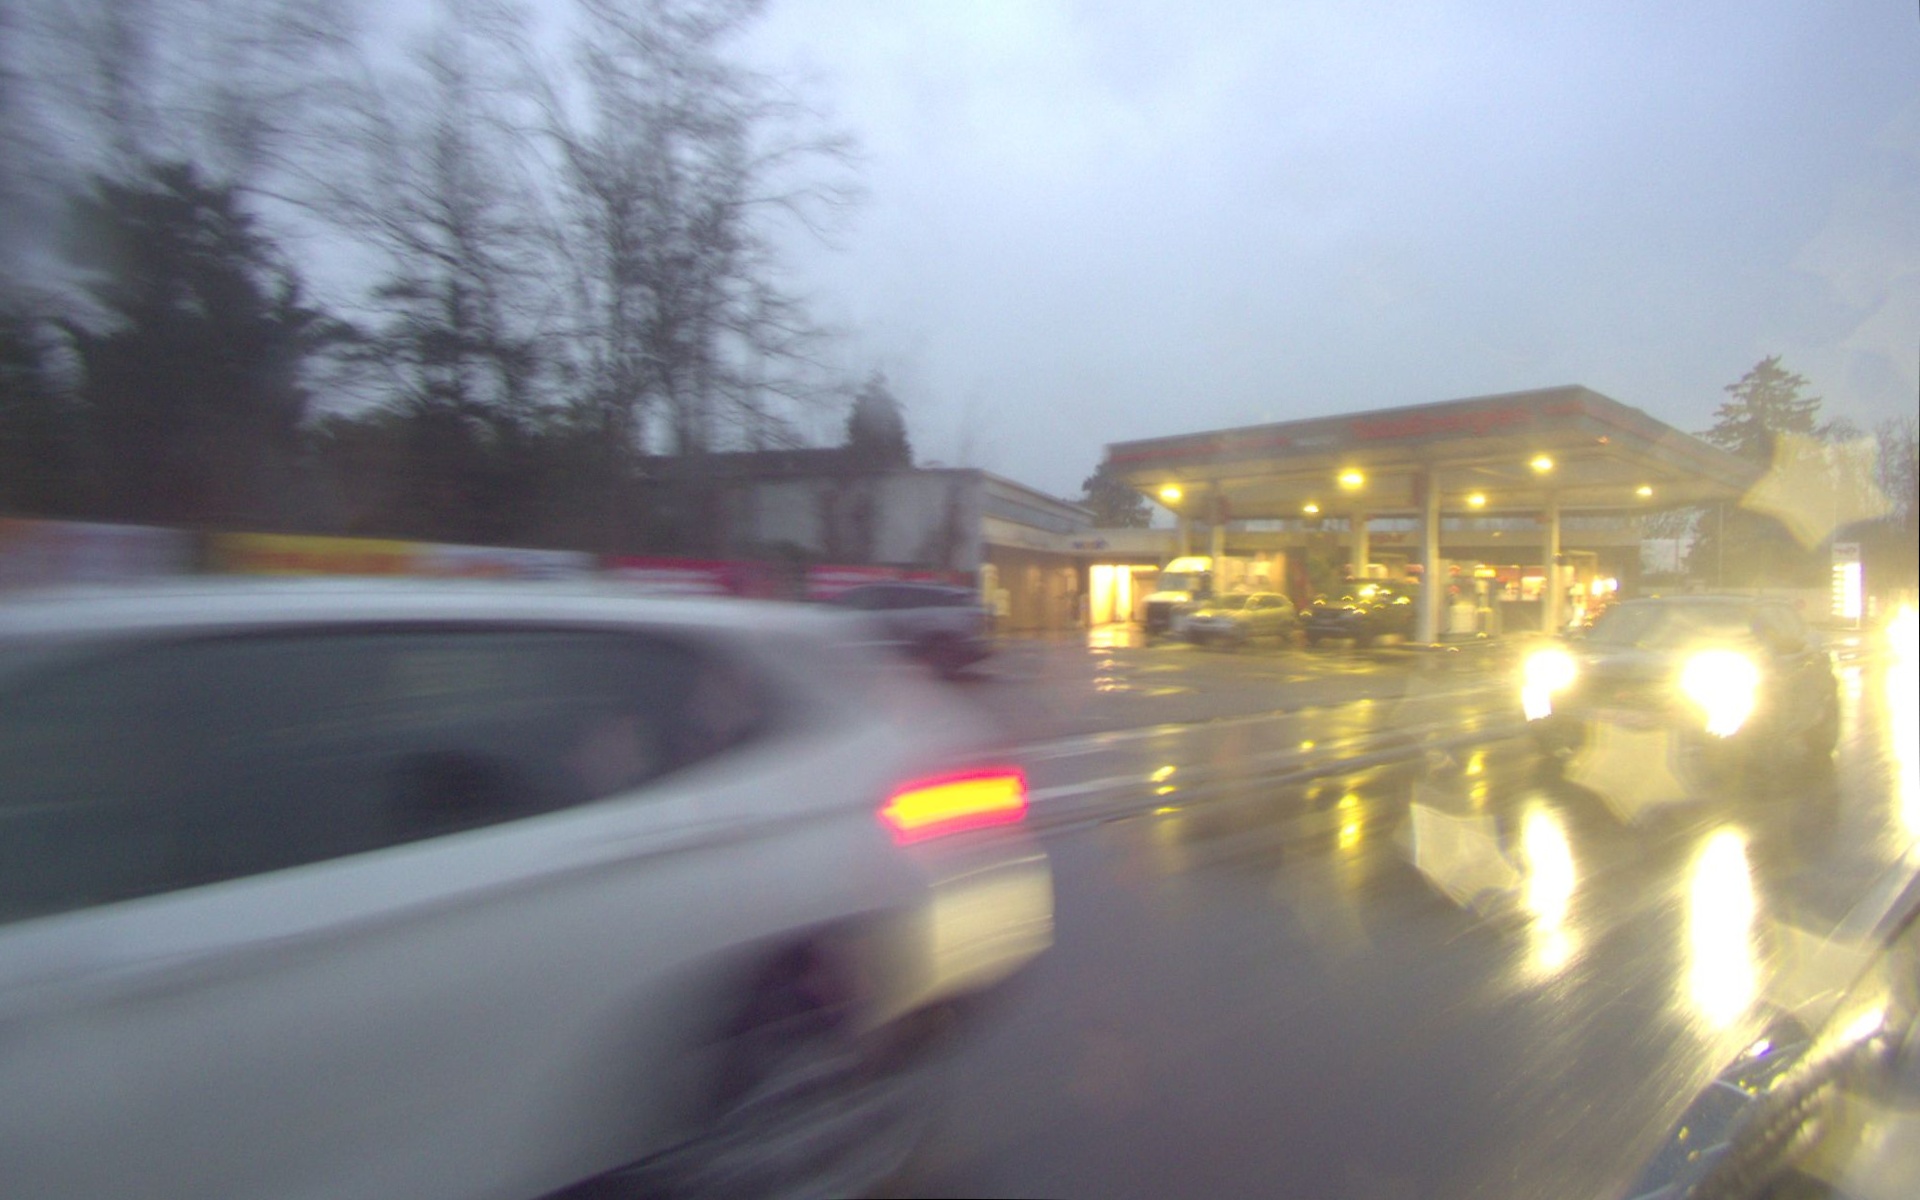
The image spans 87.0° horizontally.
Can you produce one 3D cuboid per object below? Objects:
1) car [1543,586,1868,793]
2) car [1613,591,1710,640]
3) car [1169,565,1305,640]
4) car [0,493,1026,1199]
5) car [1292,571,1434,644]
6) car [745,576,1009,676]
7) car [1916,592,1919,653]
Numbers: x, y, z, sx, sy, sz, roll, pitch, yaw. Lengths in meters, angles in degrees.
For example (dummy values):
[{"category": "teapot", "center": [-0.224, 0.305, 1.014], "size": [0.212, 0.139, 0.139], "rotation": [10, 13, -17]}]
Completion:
[{"category": "car", "center": [7.048, 0.651, 9.428], "size": [3.935, 1.548, 1.568], "rotation": [0, 0, -40]}, {"category": "car", "center": [22.623, 0.460, 32.586], "size": [4.095, 1.414, 1.576], "rotation": [0, 2, -41]}, {"category": "car", "center": [8.155, 0.051, 29.682], "size": [3.930, 2.039, 1.997], "rotation": [0, 1, -41]}, {"category": "car", "center": [-2.049, 0.638, 1.902], "size": [4.385, 1.595, 1.711], "rotation": [0, 1, -40]}, {"category": "car", "center": [11.475, 0.162, 28.714], "size": [4.223, 1.882, 1.997], "rotation": [0, 2, -41]}, {"category": "car", "center": [-1.383, 0.411, 18.039], "size": [4.406, 1.628, 2.016], "rotation": [0, 1, 7]}, {"category": "car", "center": [25.755, 0.553, 25.732], "size": [3.935, 1.511, 2.011], "rotation": [0, 0, -45]}]
